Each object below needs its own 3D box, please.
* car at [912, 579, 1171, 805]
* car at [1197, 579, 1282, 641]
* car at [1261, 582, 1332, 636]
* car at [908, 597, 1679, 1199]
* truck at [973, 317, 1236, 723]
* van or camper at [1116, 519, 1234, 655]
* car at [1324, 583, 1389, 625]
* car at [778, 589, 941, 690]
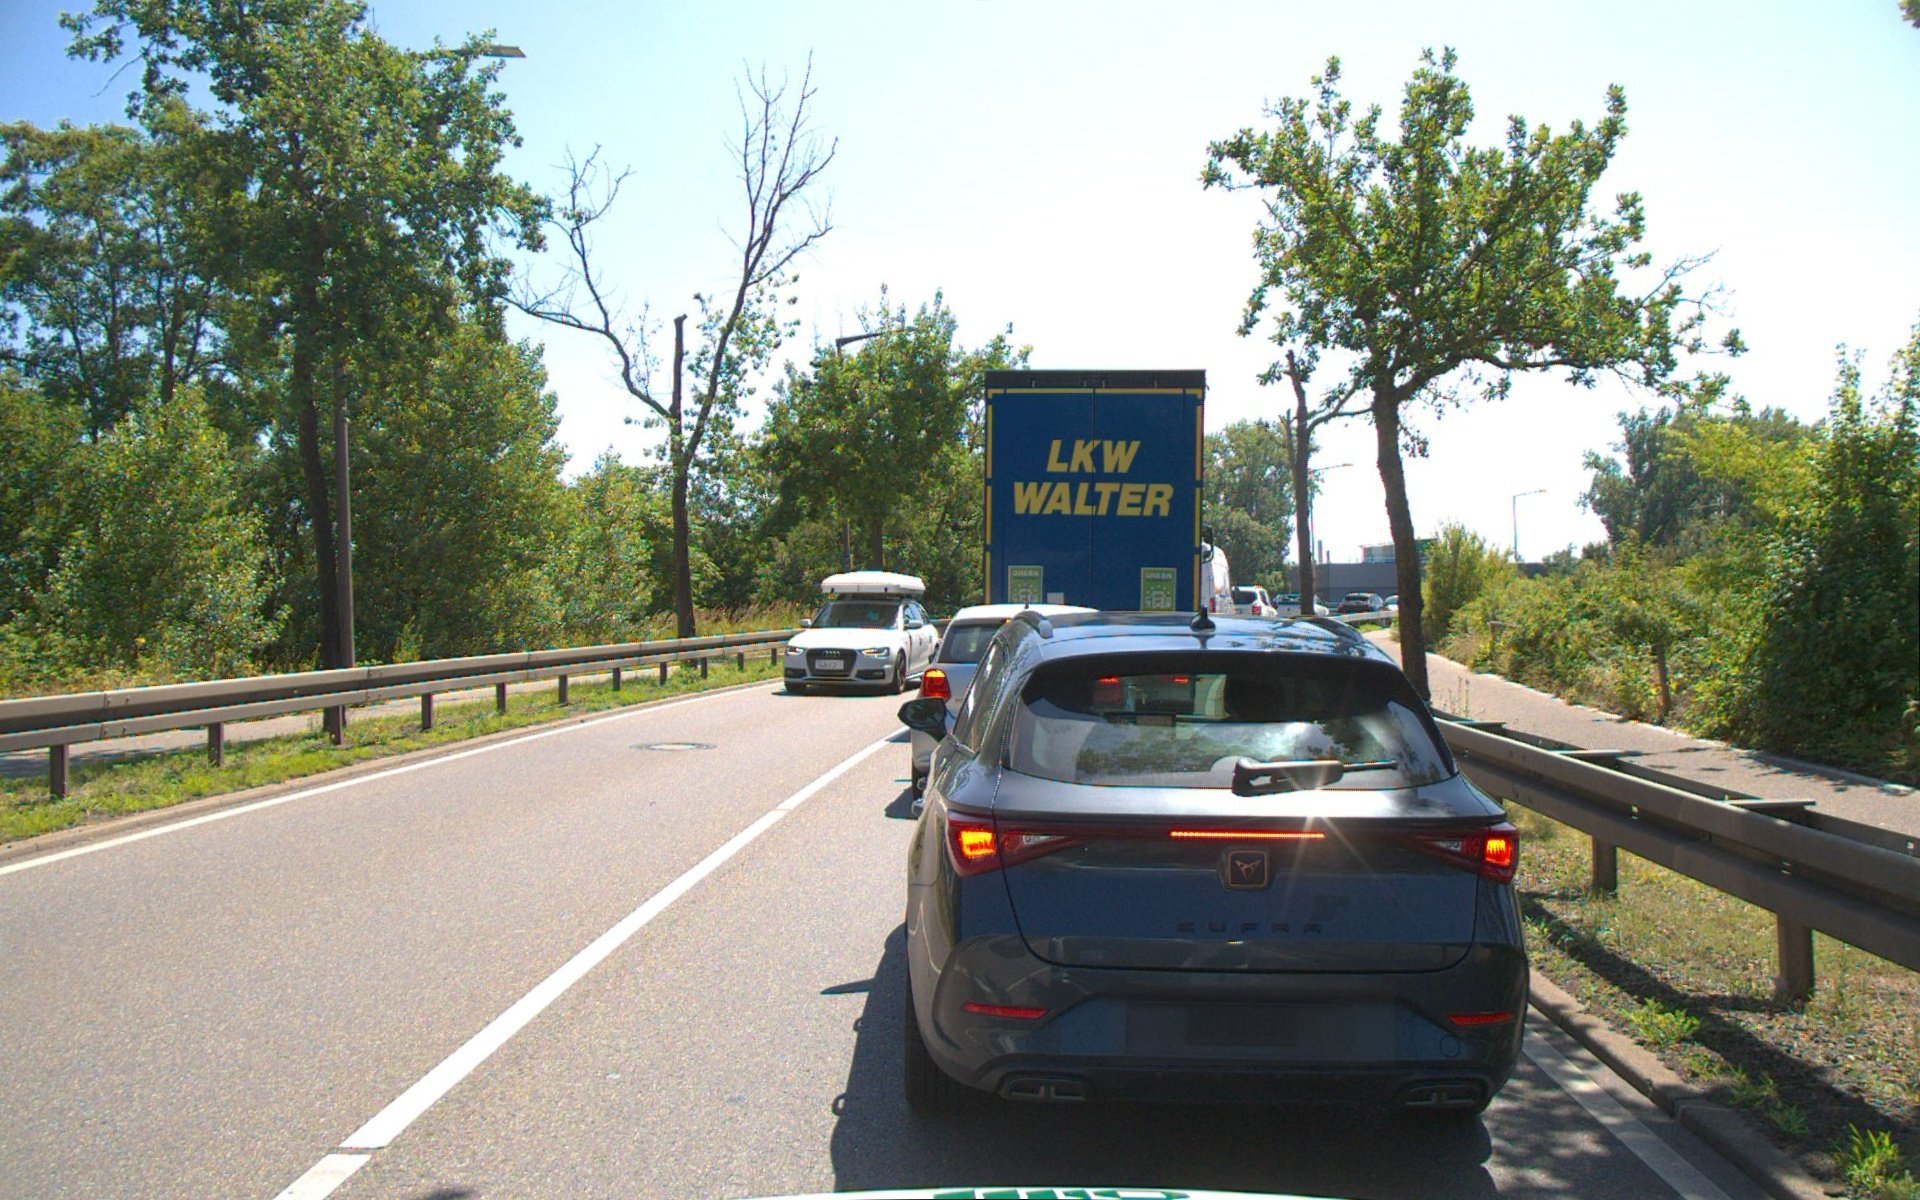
[{"bbox_3d":[0.585,0.635,13.456,1.772,1.534,4.000,1,0,0],"label":"car"},{"bbox_3d":[8.464,0.298,49.836,1.951,1.742,4.623,1,0,17],"label":"car"},{"bbox_3d":[12.184,0.326,59.702,1.952,1.840,4.848,1,0,18],"label":"car"},{"bbox_3d":[0.735,0.731,5.632,1.708,1.457,3.879,1,0,0],"label":"car"},{"bbox_3d":[2.609,-0.918,26.943,2.887,4.526,16.810,1,0,7],"label":"truck"},{"bbox_3d":[5.370,-0.300,40.516,2.413,3.051,6.091,1,0,11],"label":"van or camper"},{"bbox_3d":[17.287,0.167,71.956,1.953,1.747,4.867,1,0,23],"label":"car"},{"bbox_3d":[-1.504,0.577,26.413,1.780,1.446,4.469,1,0,7],"label":"car"}]
